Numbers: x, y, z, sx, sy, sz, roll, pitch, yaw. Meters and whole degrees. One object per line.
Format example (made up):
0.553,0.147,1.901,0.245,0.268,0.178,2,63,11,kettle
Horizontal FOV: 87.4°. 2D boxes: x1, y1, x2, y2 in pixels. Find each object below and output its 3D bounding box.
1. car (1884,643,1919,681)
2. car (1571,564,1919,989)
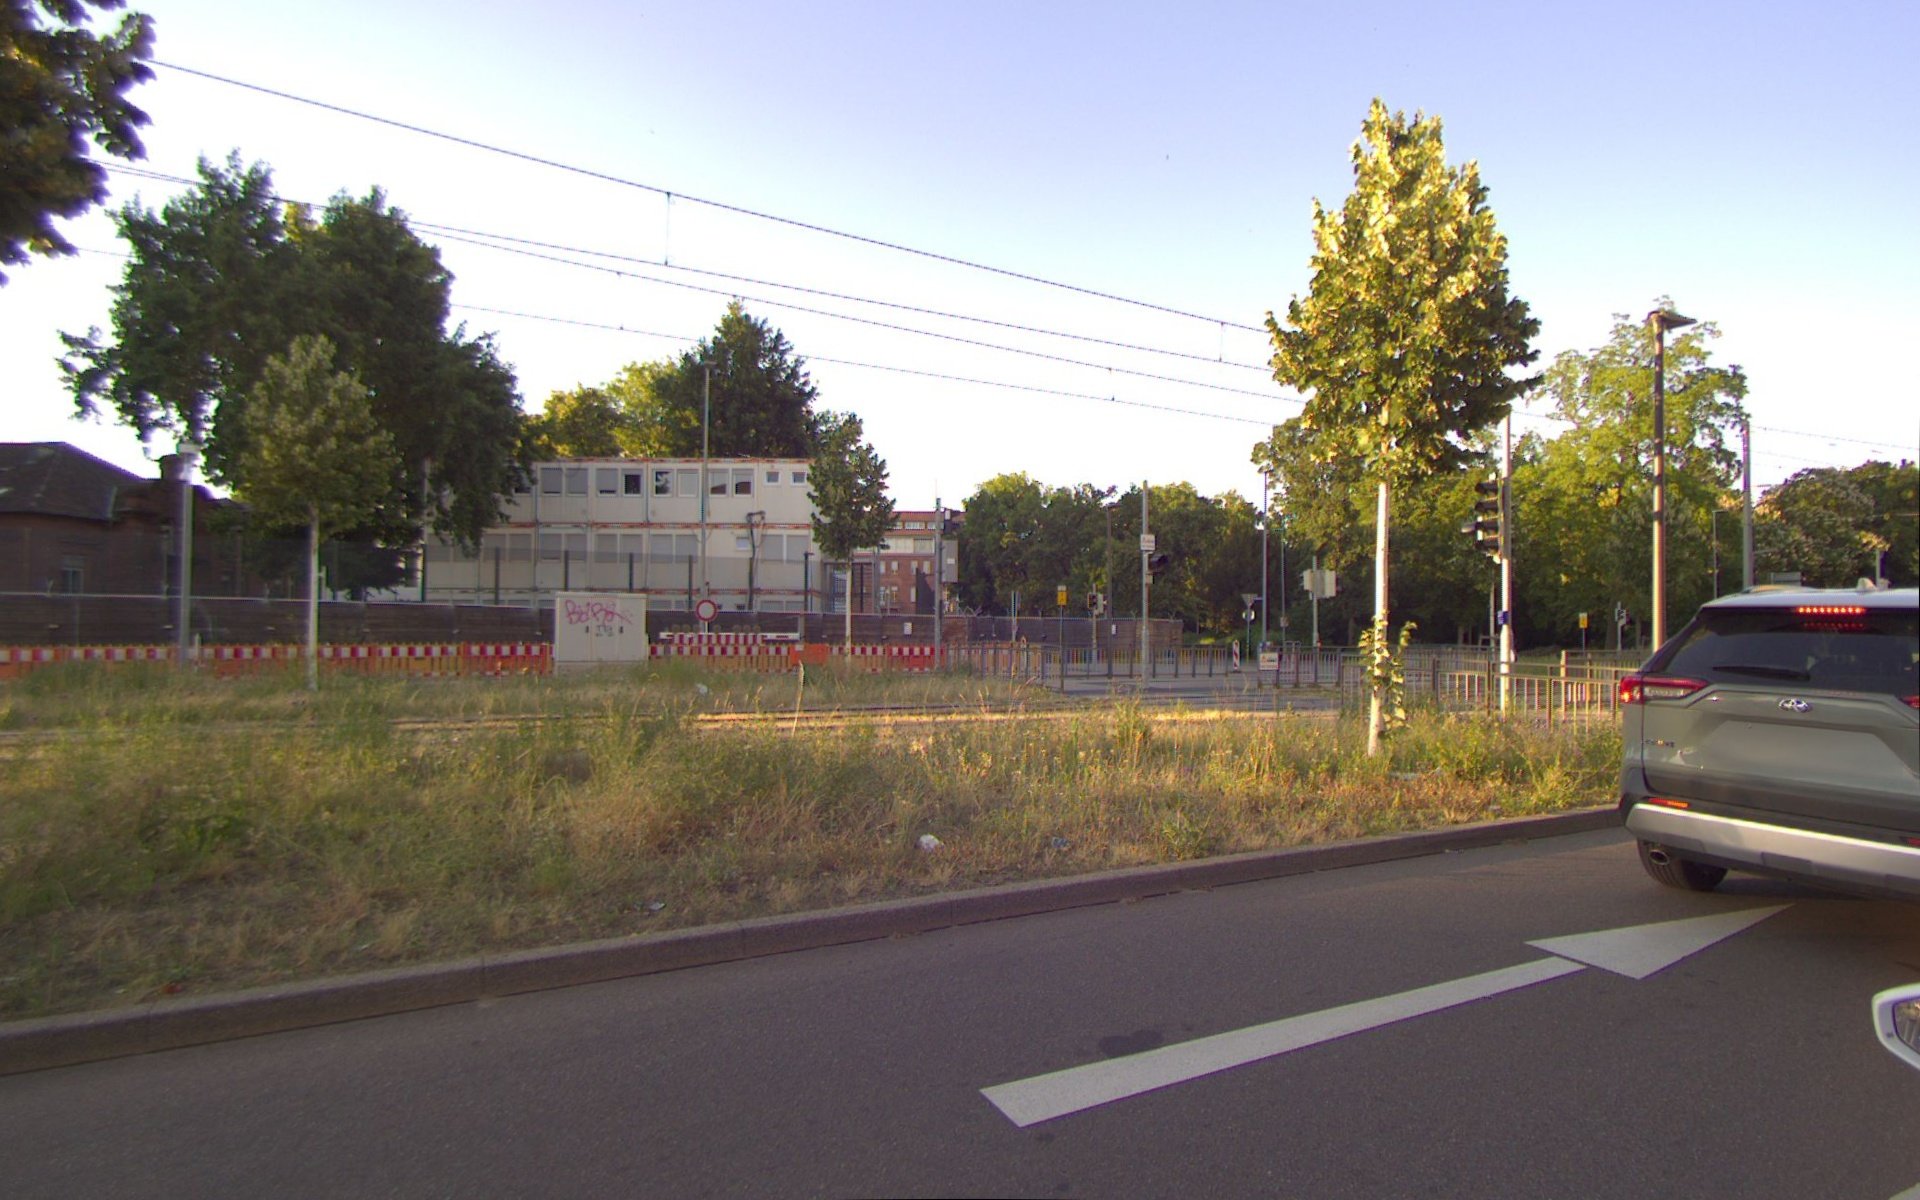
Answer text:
50.510,3.232,52.484,4.694,1.768,1.984,0,0,-30,car
5.386,0.702,5.438,4.220,1.681,1.845,0,0,-31,car
